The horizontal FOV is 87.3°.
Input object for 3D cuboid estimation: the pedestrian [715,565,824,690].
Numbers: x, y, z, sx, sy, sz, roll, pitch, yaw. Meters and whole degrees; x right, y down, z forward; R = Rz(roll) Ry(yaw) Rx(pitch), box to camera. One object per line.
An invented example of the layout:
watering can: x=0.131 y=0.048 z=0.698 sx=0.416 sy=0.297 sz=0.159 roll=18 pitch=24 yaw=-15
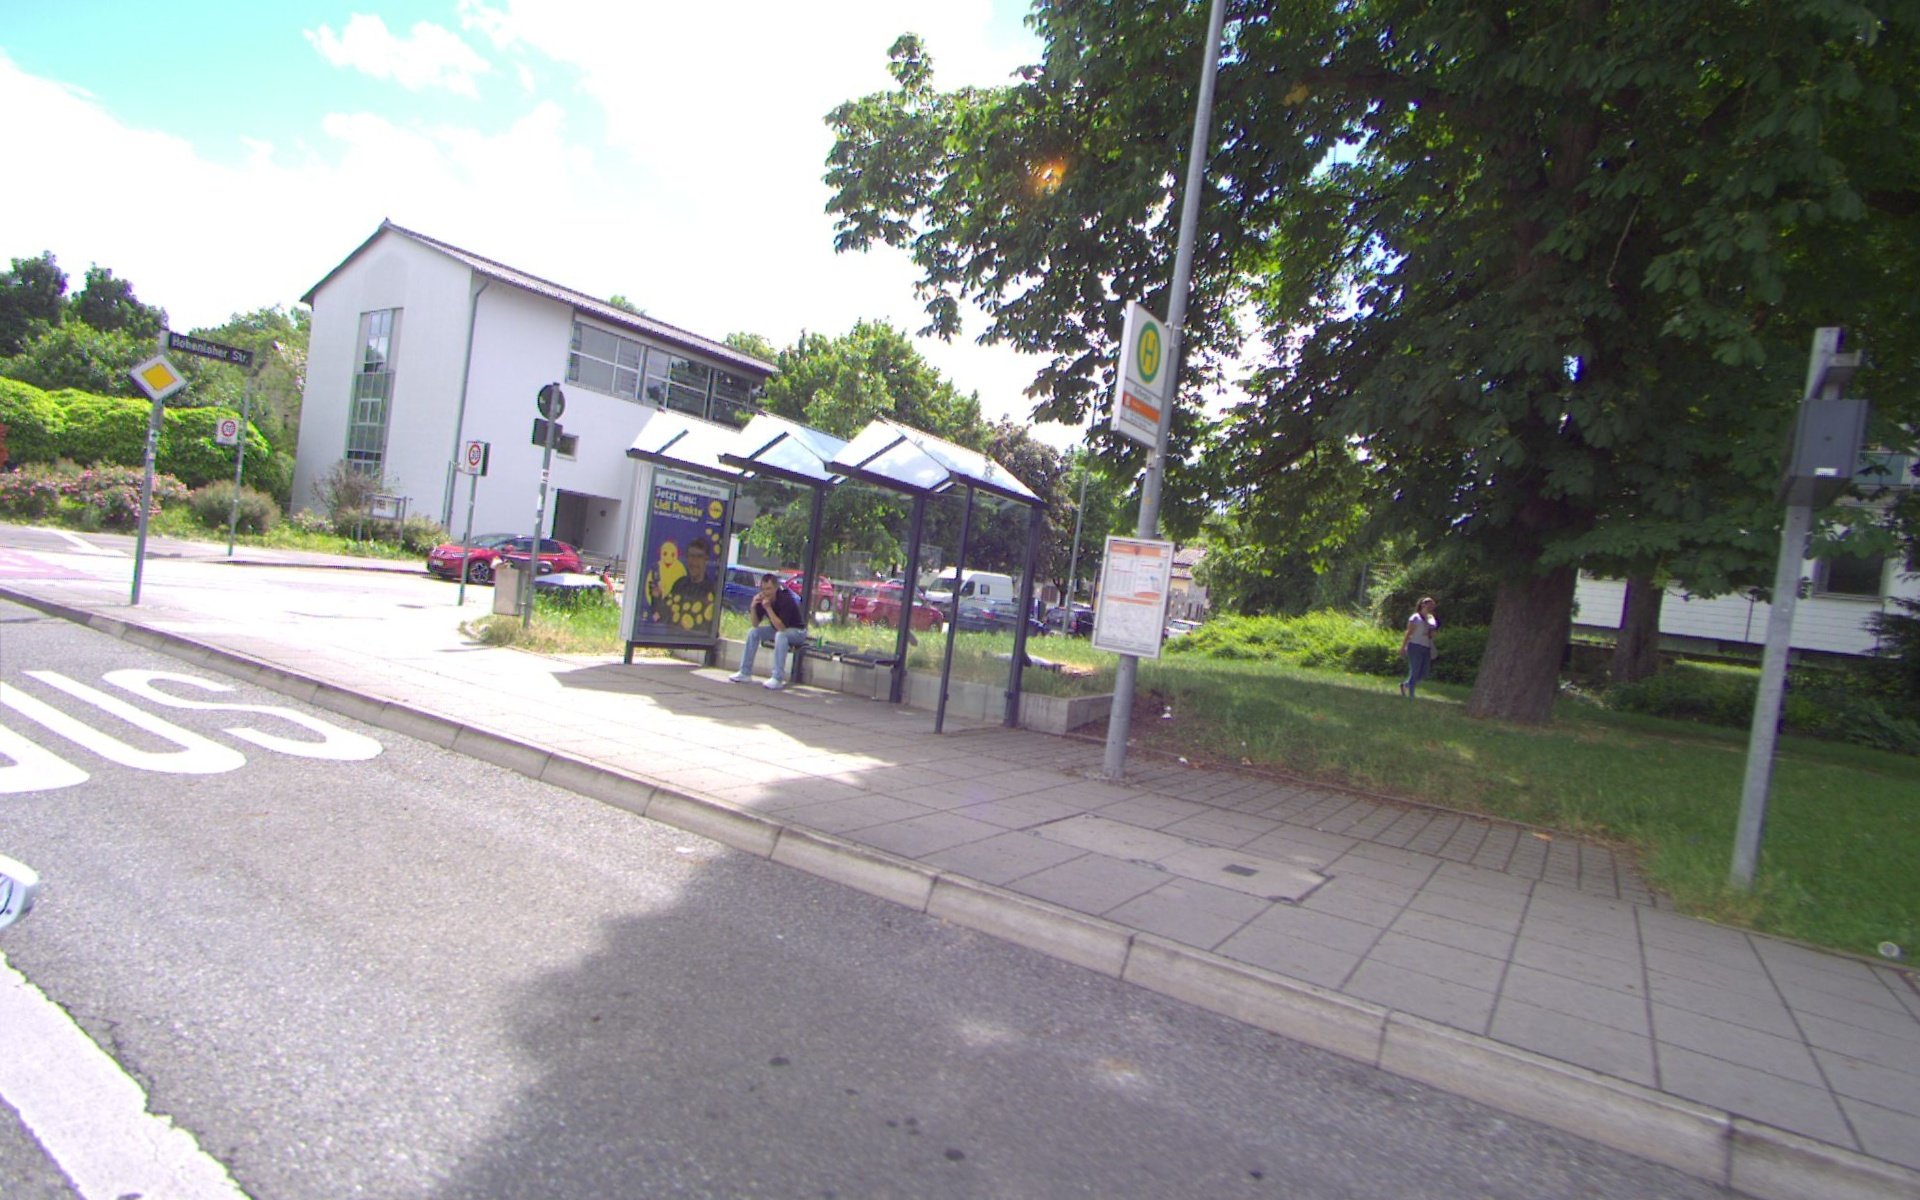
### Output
pedestrian: x=-2.126 y=0.316 z=11.259 sx=0.676 sy=1.275 sz=0.826 roll=8 pitch=2 yaw=40

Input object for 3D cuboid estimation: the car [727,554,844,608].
car: x=-6.630 y=-0.702 z=38.608 sx=1.968 sy=1.522 sz=4.079 roll=9 pitch=2 yaw=36

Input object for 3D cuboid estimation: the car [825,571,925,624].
car: x=-3.570 y=-0.069 z=42.746 sx=1.880 sy=1.745 sz=3.984 roll=8 pitch=1 yaw=39

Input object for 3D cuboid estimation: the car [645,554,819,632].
car: x=-5.505 y=-0.120 z=24.672 sx=1.866 sy=1.476 sz=3.792 roll=9 pitch=3 yaw=35

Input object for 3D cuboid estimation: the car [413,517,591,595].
car: x=-13.137 y=-1.226 z=29.075 sx=1.967 sy=1.581 sz=4.160 roll=11 pitch=2 yaw=32

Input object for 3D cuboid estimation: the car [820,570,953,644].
car: x=-2.098 y=0.236 z=29.657 sx=1.801 sy=1.664 sz=3.688 roll=9 pitch=1 yaw=35

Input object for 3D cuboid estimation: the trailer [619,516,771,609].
trailer: x=-9.151 y=-1.243 z=35.067 sx=2.186 sy=2.518 sz=4.538 roll=9 pitch=1 yaw=36

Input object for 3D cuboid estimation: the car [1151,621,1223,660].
car: x=10.870 y=1.965 z=47.997 sx=1.819 sy=1.382 sz=3.989 roll=9 pitch=1 yaw=35

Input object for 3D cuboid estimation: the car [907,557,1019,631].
car: x=0.238 y=-0.246 z=47.949 sx=2.171 sy=2.902 sz=5.575 roll=8 pitch=1 yaw=37

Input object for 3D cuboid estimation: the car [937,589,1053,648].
car: x=1.272 y=0.670 z=34.487 sx=1.968 sy=1.579 sz=4.080 roll=8 pitch=1 yaw=34

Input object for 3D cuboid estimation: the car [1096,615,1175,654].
car: x=7.602 y=1.507 z=43.308 sx=1.838 sy=1.303 sz=3.989 roll=8 pitch=1 yaw=33

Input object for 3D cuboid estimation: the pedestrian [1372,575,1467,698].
pedestrian: x=7.180 y=0.575 z=15.721 sx=0.982 sy=1.782 sz=0.848 roll=6 pitch=1 yaw=-42

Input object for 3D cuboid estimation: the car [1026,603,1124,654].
car: x=4.511 y=1.146 z=39.028 sx=1.968 sy=1.579 sz=4.080 roll=8 pitch=1 yaw=34
